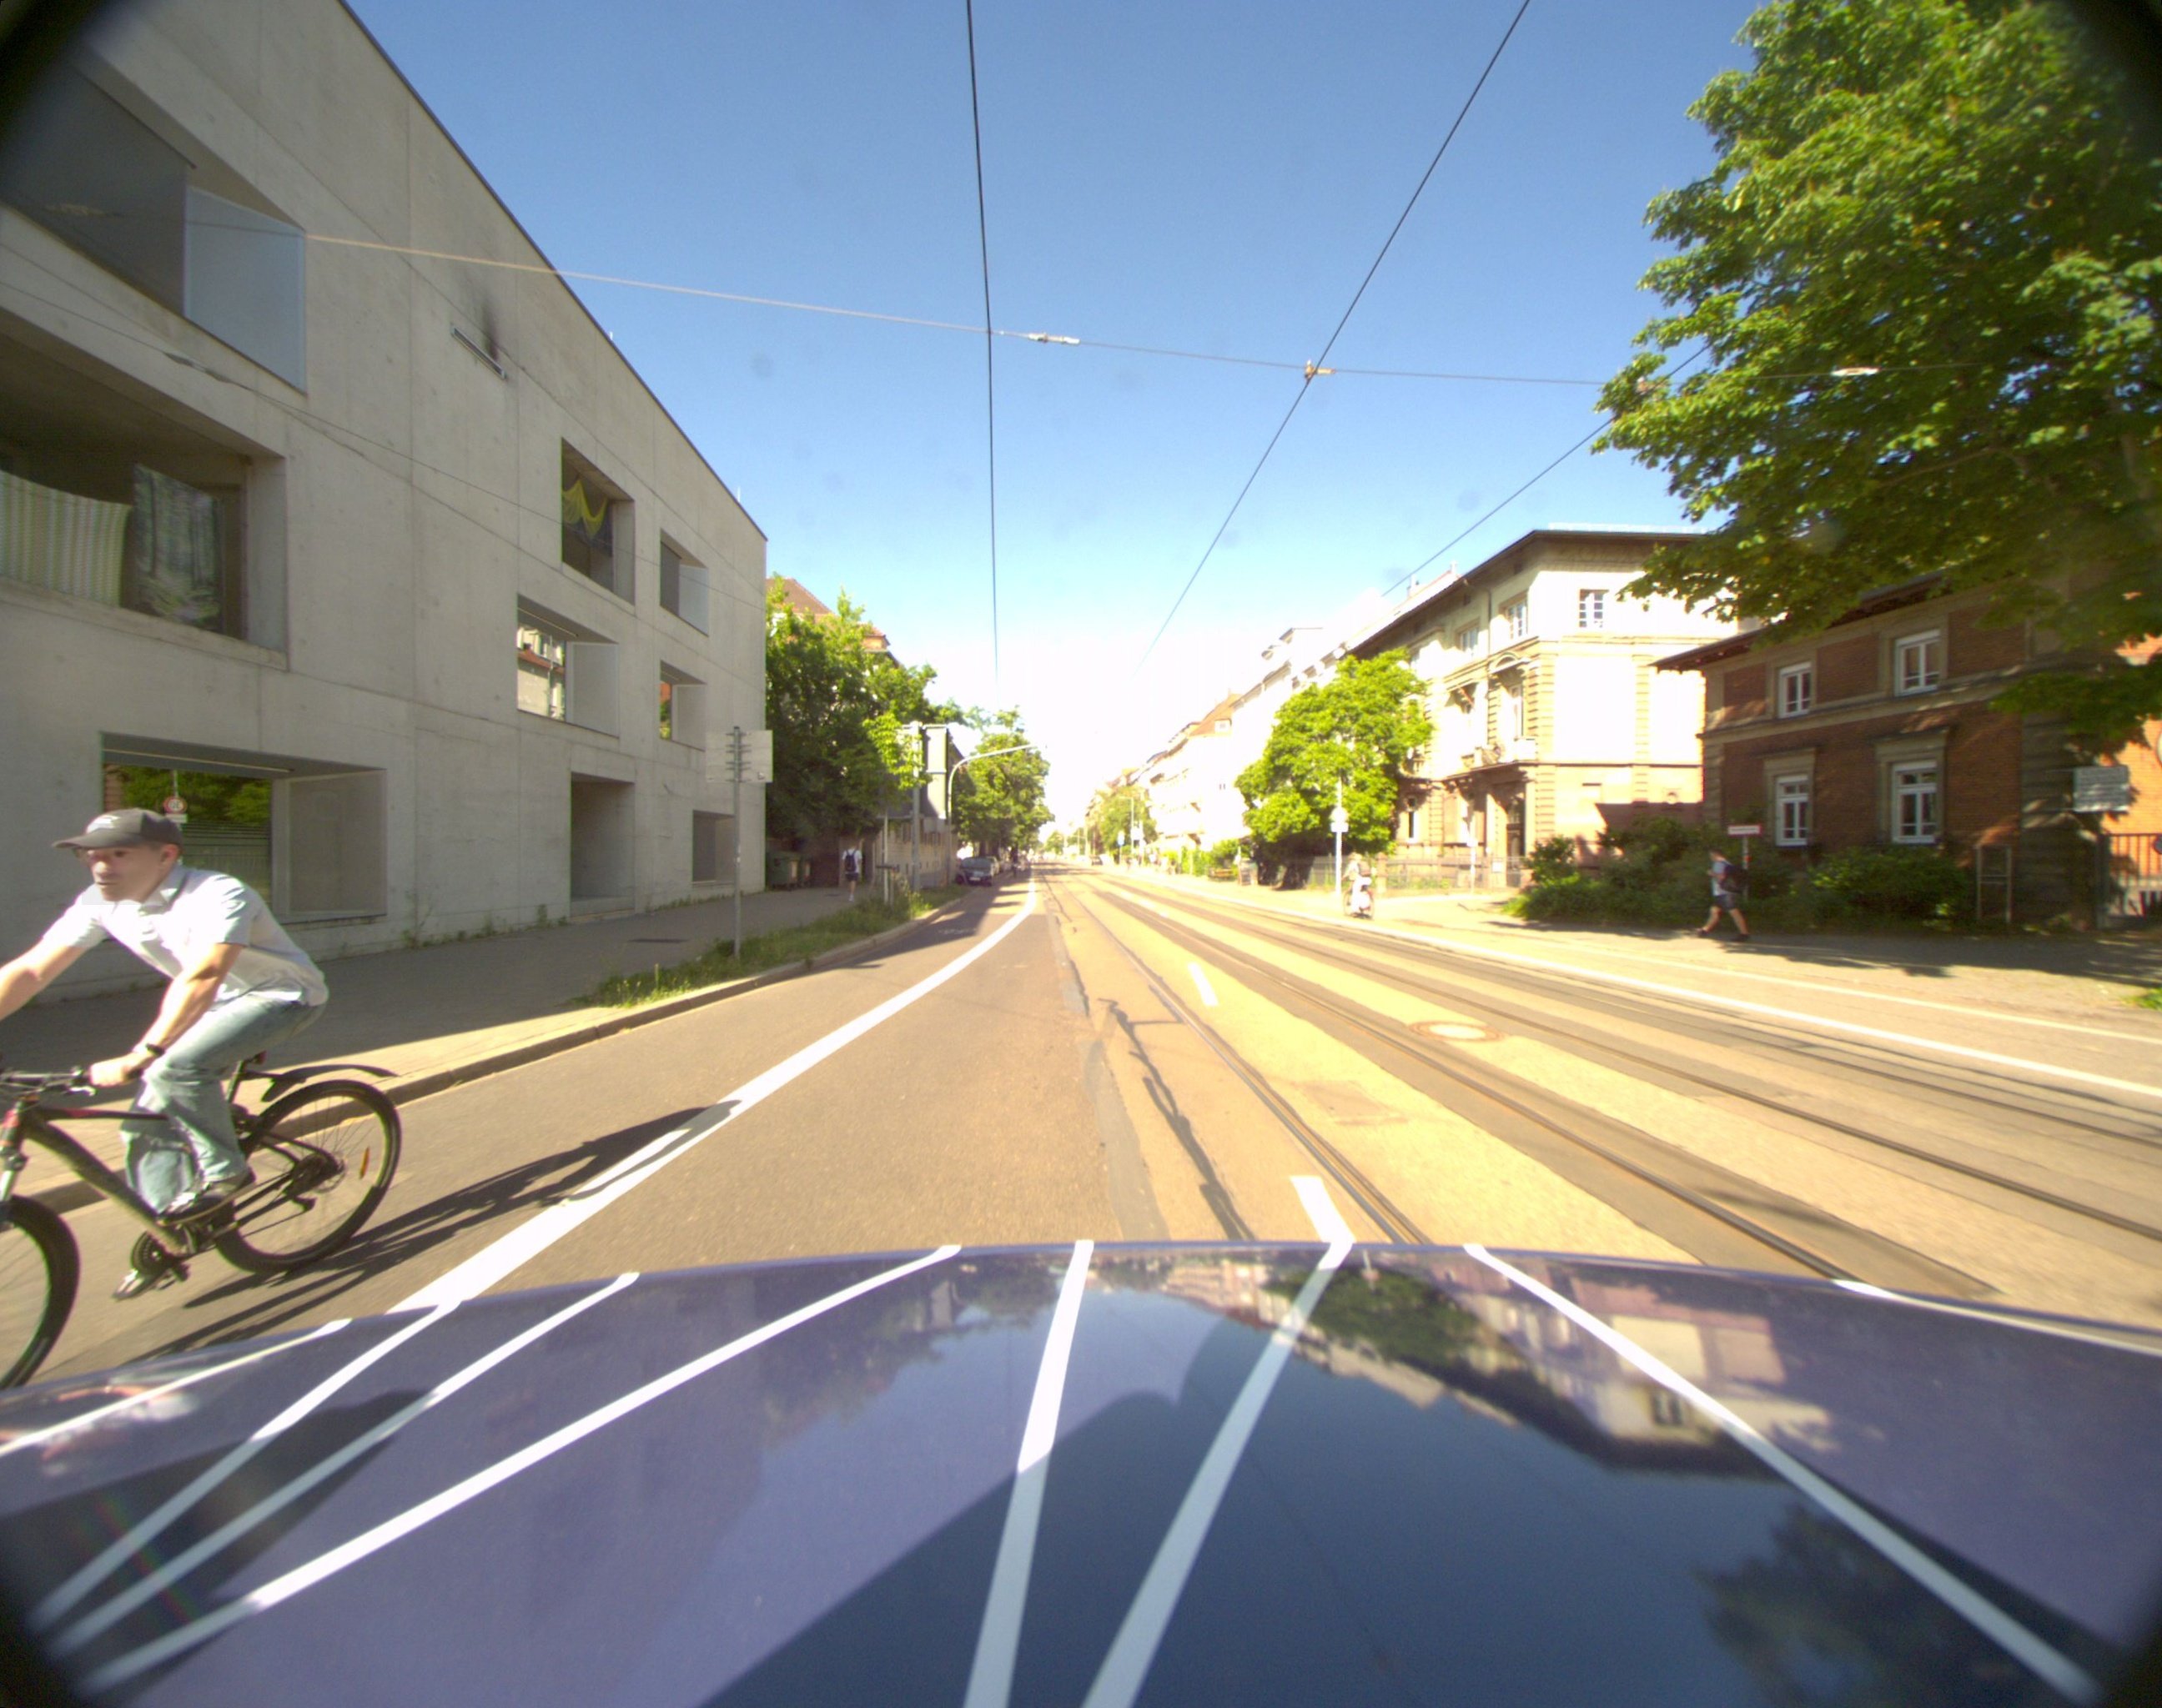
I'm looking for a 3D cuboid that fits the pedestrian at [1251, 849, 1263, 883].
[{"bbox_3d":[9.530,0.626,41.090,0.576,1.821,0.690,0,1,16],"label":"pedestrian"}]

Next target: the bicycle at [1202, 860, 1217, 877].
[{"bbox_3d":[8.813,0.983,52.054,0.640,1.053,1.742,-2,1,-2],"label":"bicycle"}]

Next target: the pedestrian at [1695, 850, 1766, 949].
[{"bbox_3d":[12.298,0.830,14.393,0.733,1.787,0.778,-3,1,-29],"label":"pedestrian"}]

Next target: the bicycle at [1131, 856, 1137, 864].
[{"bbox_3d":[6.384,0.730,92.092,0.528,0.975,1.777,0,0,-3],"label":"bicycle"}]

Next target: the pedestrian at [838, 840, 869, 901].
[{"bbox_3d":[-6.997,0.495,23.432,0.686,1.839,0.955,2,1,-5],"label":"pedestrian"}]

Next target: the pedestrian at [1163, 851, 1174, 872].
[{"bbox_3d":[7.301,0.611,63.590,0.757,1.704,0.808,-1,1,-3],"label":"pedestrian"}]

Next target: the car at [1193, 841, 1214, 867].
[{"bbox_3d":[13.610,-0.034,84.169,1.889,2.825,4.787,1,2,14],"label":"car"}]

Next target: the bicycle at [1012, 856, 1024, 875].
[{"bbox_3d":[-4.398,0.797,52.845,0.763,1.235,2.095,-1,0,-4],"label":"bicycle"}]

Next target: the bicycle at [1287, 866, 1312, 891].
[{"bbox_3d":[10.049,1.121,35.045,0.591,1.039,1.904,-1,1,0],"label":"bicycle"}]

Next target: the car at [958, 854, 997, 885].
[{"bbox_3d":[-5.407,0.758,40.028,1.827,1.450,4.815,2,0,-7],"label":"car"}]

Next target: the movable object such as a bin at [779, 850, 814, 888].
[{"bbox_3d":[-11.037,0.568,29.556,0.936,1.455,1.331,0,1,-4],"label":"movable object such as a bin"}]

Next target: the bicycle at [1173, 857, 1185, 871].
[{"bbox_3d":[8.434,0.841,65.564,0.663,1.083,1.839,-3,1,-3],"label":"bicycle"}]

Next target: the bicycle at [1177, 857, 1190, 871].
[{"bbox_3d":[8.565,0.860,63.523,0.663,1.083,1.839,-3,1,-3],"label":"bicycle"}]

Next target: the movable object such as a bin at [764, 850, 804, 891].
[{"bbox_3d":[-10.797,0.586,27.664,0.936,1.455,1.355,0,1,-2],"label":"movable object such as a bin"}]

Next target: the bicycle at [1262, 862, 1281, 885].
[{"bbox_3d":[9.917,1.005,39.675,0.647,1.137,1.905,-2,0,5],"label":"bicycle"}]

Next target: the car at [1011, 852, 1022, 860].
[{"bbox_3d":[-12.086,0.318,141.774,1.824,1.475,4.746,1,0,-6],"label":"car"}]

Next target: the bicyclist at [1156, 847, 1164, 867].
[{"bbox_3d":[7.330,0.242,70.315,0.706,1.843,0.986,1,2,10],"label":"bicyclist"}]

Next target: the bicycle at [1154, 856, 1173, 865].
[{"bbox_3d":[9.827,0.723,90.392,2.244,1.038,0.876,0,2,6],"label":"bicycle"}]

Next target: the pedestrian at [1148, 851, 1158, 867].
[{"bbox_3d":[8.265,0.551,87.378,0.691,1.758,0.868,1,1,42],"label":"pedestrian"}]

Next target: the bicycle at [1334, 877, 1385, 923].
[{"bbox_3d":[7.626,1.231,20.886,0.688,1.118,1.931,2,0,1],"label":"bicycle"}]

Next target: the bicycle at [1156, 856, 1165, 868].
[{"bbox_3d":[7.326,0.725,70.327,0.706,1.049,1.836,1,2,10],"label":"bicycle"}]

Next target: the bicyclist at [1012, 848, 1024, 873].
[{"bbox_3d":[-4.410,0.439,52.960,0.763,1.728,1.046,-1,1,-4],"label":"bicyclist"}]

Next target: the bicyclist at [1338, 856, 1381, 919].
[{"bbox_3d":[7.642,0.892,20.900,0.688,1.635,1.237,2,1,1],"label":"bicyclist"}]

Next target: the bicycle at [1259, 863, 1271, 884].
[{"bbox_3d":[9.952,1.050,41.119,0.637,1.039,2.024,0,1,13],"label":"bicycle"}]

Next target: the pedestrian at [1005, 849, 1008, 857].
[{"bbox_3d":[-17.567,-0.184,178.757,0.744,2.002,0.687,0,1,-11],"label":"pedestrian"}]

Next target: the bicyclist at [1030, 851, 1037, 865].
[{"bbox_3d":[-5.487,0.445,87.091,0.776,1.505,1.229,0,1,-6],"label":"bicyclist"}]

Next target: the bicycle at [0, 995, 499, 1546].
[{"bbox_3d":[-3.165,1.232,2.595,0.740,1.088,2.110,-1,0,-1],"label":"bicycle"}]

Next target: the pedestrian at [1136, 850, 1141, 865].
[{"bbox_3d":[6.866,0.435,90.593,0.558,1.771,0.538,0,1,-7],"label":"pedestrian"}]

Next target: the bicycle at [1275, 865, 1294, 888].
[{"bbox_3d":[9.972,1.101,37.309,0.591,1.039,1.905,-1,0,5],"label":"bicycle"}]

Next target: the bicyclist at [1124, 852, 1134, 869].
[{"bbox_3d":[4.643,0.602,72.880,0.747,1.590,1.117,3,1,-2],"label":"bicyclist"}]

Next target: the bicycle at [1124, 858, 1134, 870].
[{"bbox_3d":[4.620,0.973,72.884,0.747,1.075,1.898,3,0,-2],"label":"bicycle"}]

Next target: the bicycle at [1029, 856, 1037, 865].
[{"bbox_3d":[-5.490,0.753,87.090,0.776,1.080,2.057,0,0,-6],"label":"bicycle"}]

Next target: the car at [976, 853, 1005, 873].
[{"bbox_3d":[-6.740,0.665,56.699,1.728,1.374,4.355,2,0,-2],"label":"car"}]

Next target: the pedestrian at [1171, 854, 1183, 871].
[{"bbox_3d":[8.072,0.714,63.886,0.757,1.469,0.956,-1,1,-3],"label":"pedestrian"}]

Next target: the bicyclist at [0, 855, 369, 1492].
[{"bbox_3d":[-3.170,0.852,2.472,0.740,1.676,0.971,-1,1,-1],"label":"bicyclist"}]

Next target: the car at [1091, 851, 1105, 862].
[{"bbox_3d":[2.618,0.323,117.641,1.870,1.567,4.587,2,0,-3],"label":"car"}]

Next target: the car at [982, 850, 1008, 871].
[{"bbox_3d":[-7.290,0.525,64.471,1.815,1.616,4.582,3,0,-3],"label":"car"}]
